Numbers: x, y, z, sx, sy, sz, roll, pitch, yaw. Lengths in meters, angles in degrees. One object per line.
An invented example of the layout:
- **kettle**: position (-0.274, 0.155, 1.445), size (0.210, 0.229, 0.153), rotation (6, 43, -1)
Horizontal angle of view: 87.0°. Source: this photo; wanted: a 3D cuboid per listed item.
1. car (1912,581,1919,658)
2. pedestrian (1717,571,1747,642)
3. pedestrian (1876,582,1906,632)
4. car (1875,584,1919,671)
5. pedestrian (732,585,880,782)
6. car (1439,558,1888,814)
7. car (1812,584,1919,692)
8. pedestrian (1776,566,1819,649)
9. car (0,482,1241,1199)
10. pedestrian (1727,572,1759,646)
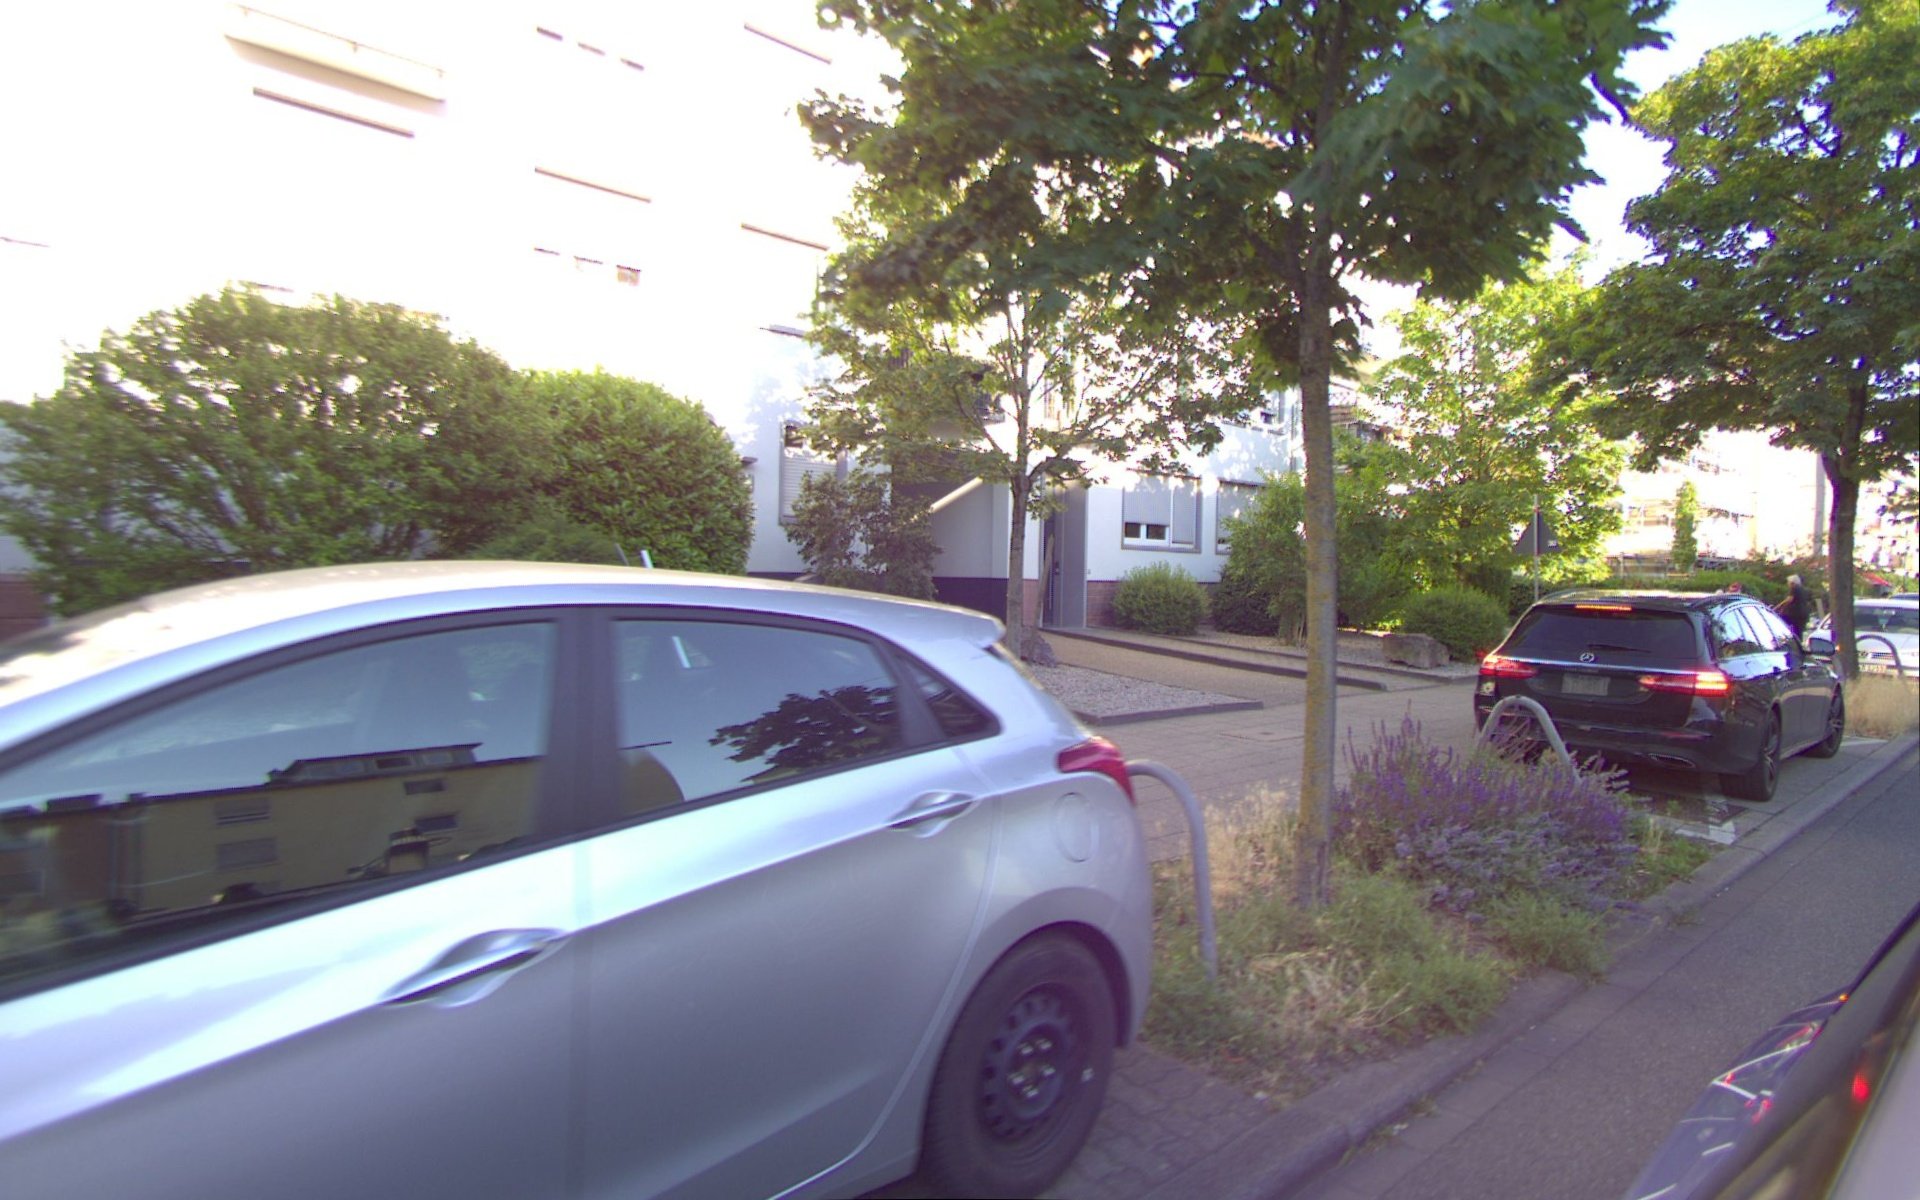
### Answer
- **car**: position (22.964, 0.431, 22.968), size (4.521, 1.676, 1.723), rotation (0, 1, -44)
- **pedestrian**: position (18.994, 0.140, 24.894), size (0.518, 1.718, 0.510), rotation (0, 1, -45)
- **pedestrian**: position (30.147, 0.223, 32.767), size (0.553, 1.587, 0.740), rotation (1, 1, 31)
- **car**: position (19.413, 0.526, 19.847), size (3.930, 1.587, 1.640), rotation (0, 3, -41)
- **pedestrian**: position (-1.064, 0.527, 6.977), size (0.776, 1.250, 0.674), rotation (0, 1, -40)
- **car**: position (6.197, 0.509, 8.679), size (4.734, 1.600, 1.879), rotation (0, 3, -39)
- **car**: position (15.179, 0.536, 16.226), size (4.338, 1.508, 1.640), rotation (0, 3, -41)
- **pedestrian**: position (19.209, 0.166, 23.214), size (0.749, 1.872, 0.550), rotation (0, 1, -34)
- **car**: position (-1.400, 0.596, 2.034), size (4.318, 1.513, 1.721), rotation (0, 2, -42)
- **pedestrian**: position (18.468, 0.196, 23.860), size (0.518, 1.718, 0.510), rotation (0, 1, -45)
